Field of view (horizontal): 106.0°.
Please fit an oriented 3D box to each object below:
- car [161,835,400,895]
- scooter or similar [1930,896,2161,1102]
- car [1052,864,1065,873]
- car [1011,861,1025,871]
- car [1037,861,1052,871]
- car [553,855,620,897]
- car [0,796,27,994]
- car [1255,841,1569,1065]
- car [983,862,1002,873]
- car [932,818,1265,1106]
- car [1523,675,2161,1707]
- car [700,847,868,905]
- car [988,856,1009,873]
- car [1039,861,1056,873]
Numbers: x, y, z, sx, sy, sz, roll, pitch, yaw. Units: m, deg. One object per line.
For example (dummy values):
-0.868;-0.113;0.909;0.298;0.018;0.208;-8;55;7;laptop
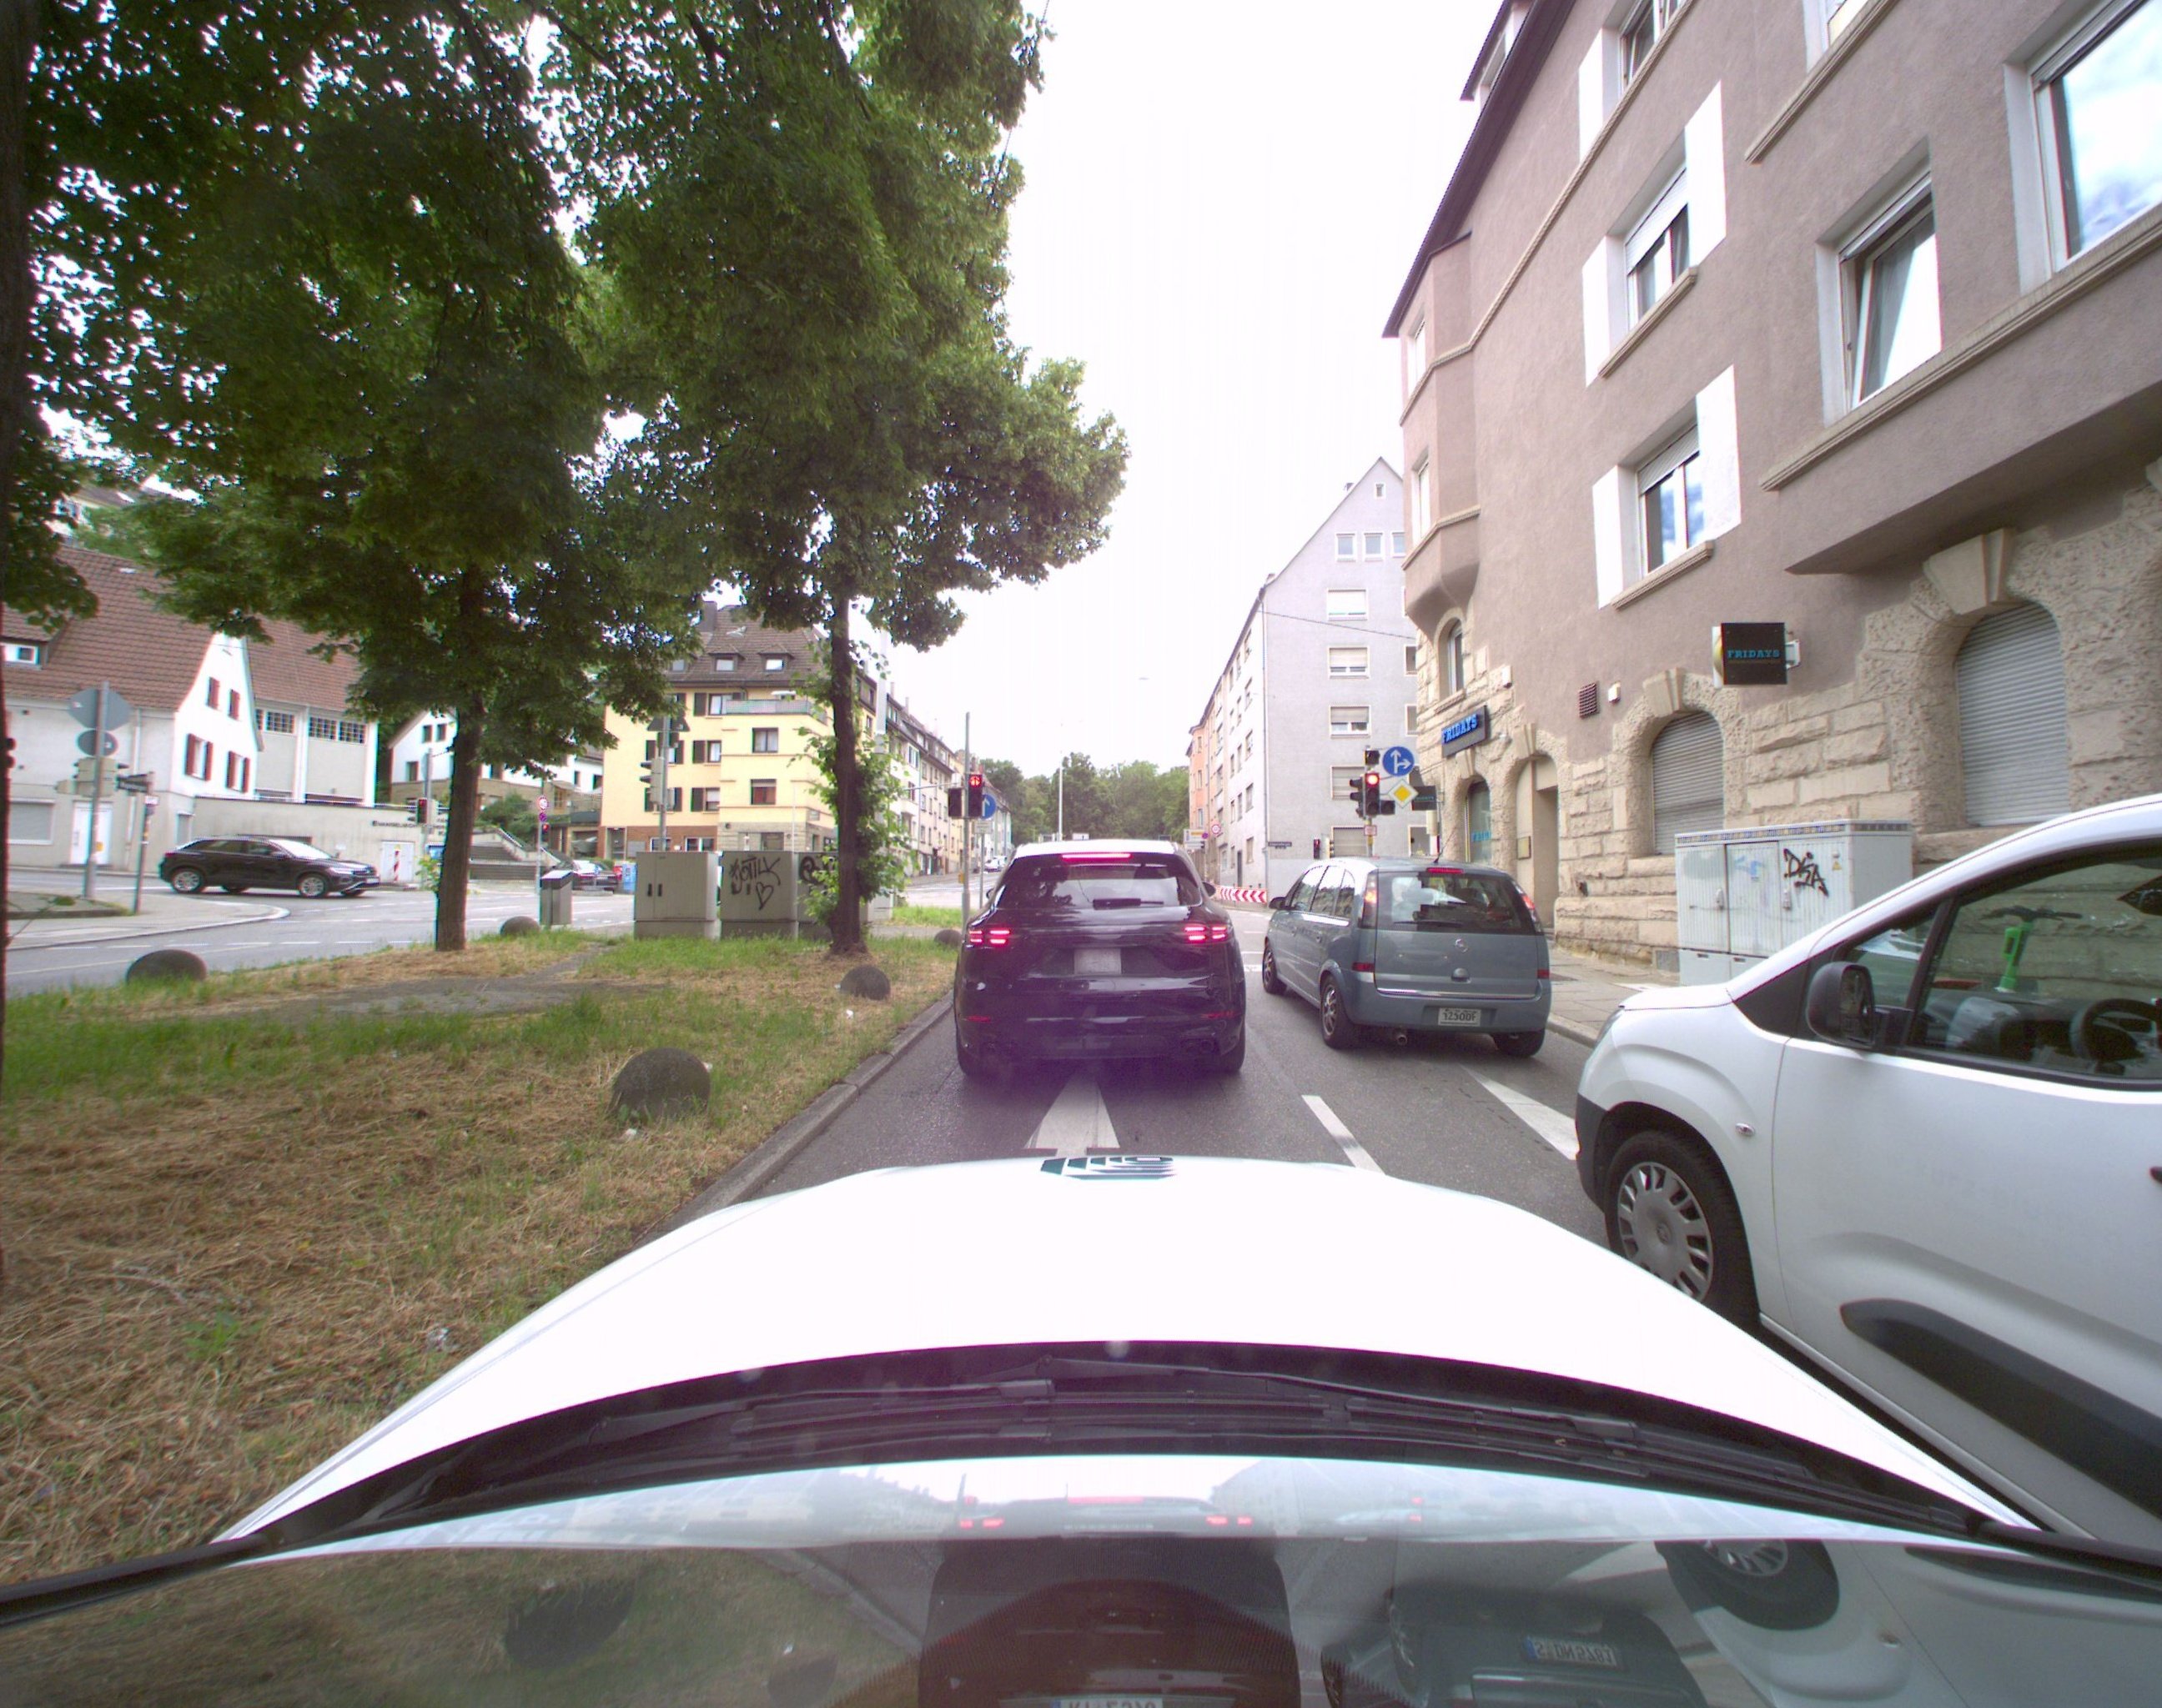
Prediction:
-21.315;0.310;21.903;4.247;1.521;1.657;1;-1;-17;car
6.467;0.862;5.263;0.524;1.104;1.424;-1;-1;4;scooter or similar
-4.180;2.649;151.659;1.966;1.610;4.560;0;0;2;car
-9.666;1.847;125.397;1.682;1.538;3.815;0;-1;2;car
-5.816;1.849;128.581;1.835;1.486;3.903;0;0;5;car
-23.598;1.006;38.846;3.477;1.596;1.881;7;4;44;car
-11.533;0.407;5.506;1.988;1.945;5.302;0;0;-2;car
2.870;0.752;7.939;1.622;1.598;3.670;3;0;2;car
-10.803;1.634;99.319;1.732;1.387;3.815;0;0;2;car
0.163;0.657;6.839;1.948;1.674;4.001;-1;-1;2;car
2.831;0.620;1.038;1.969;1.775;4.676;3;0;0;car
-8.536;0.645;23.694;4.245;1.594;1.687;1;-1;-6;car
-10.521;1.328;104.629;2.008;2.045;4.669;0;-1;2;car
-4.179;1.615;103.075;1.854;1.388;4.096;0;0;2;car
